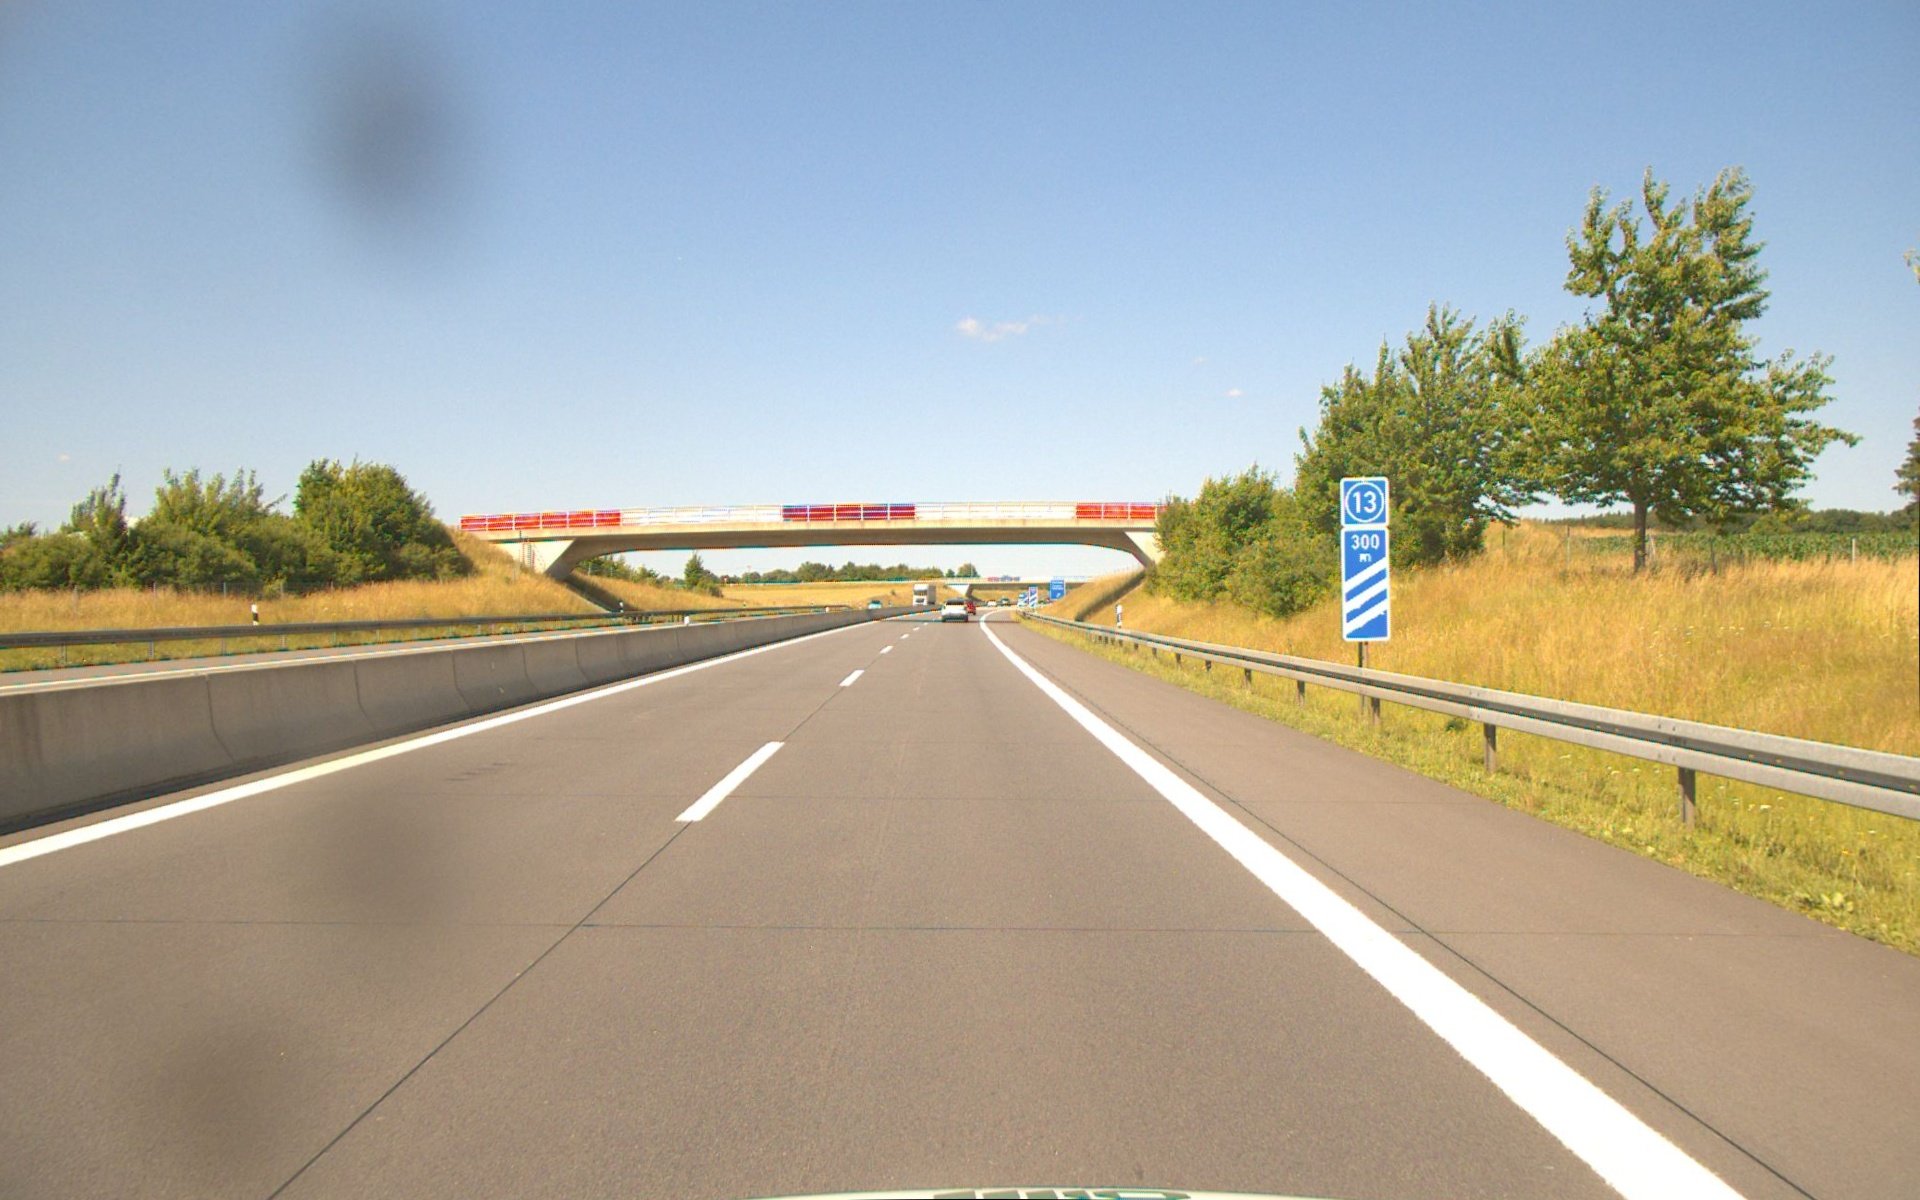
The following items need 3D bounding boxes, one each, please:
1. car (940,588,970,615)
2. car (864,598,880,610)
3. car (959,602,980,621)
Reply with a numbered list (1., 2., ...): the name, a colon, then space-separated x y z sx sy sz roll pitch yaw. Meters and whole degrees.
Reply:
1. car: -0.346 0.110 113.162 1.952 1.761 4.869 -1 0 0
2. car: -11.547 0.543 217.067 1.625 1.478 4.001 0 0 2
3. car: 0.985 1.154 165.811 1.952 1.761 4.870 -1 0 2
